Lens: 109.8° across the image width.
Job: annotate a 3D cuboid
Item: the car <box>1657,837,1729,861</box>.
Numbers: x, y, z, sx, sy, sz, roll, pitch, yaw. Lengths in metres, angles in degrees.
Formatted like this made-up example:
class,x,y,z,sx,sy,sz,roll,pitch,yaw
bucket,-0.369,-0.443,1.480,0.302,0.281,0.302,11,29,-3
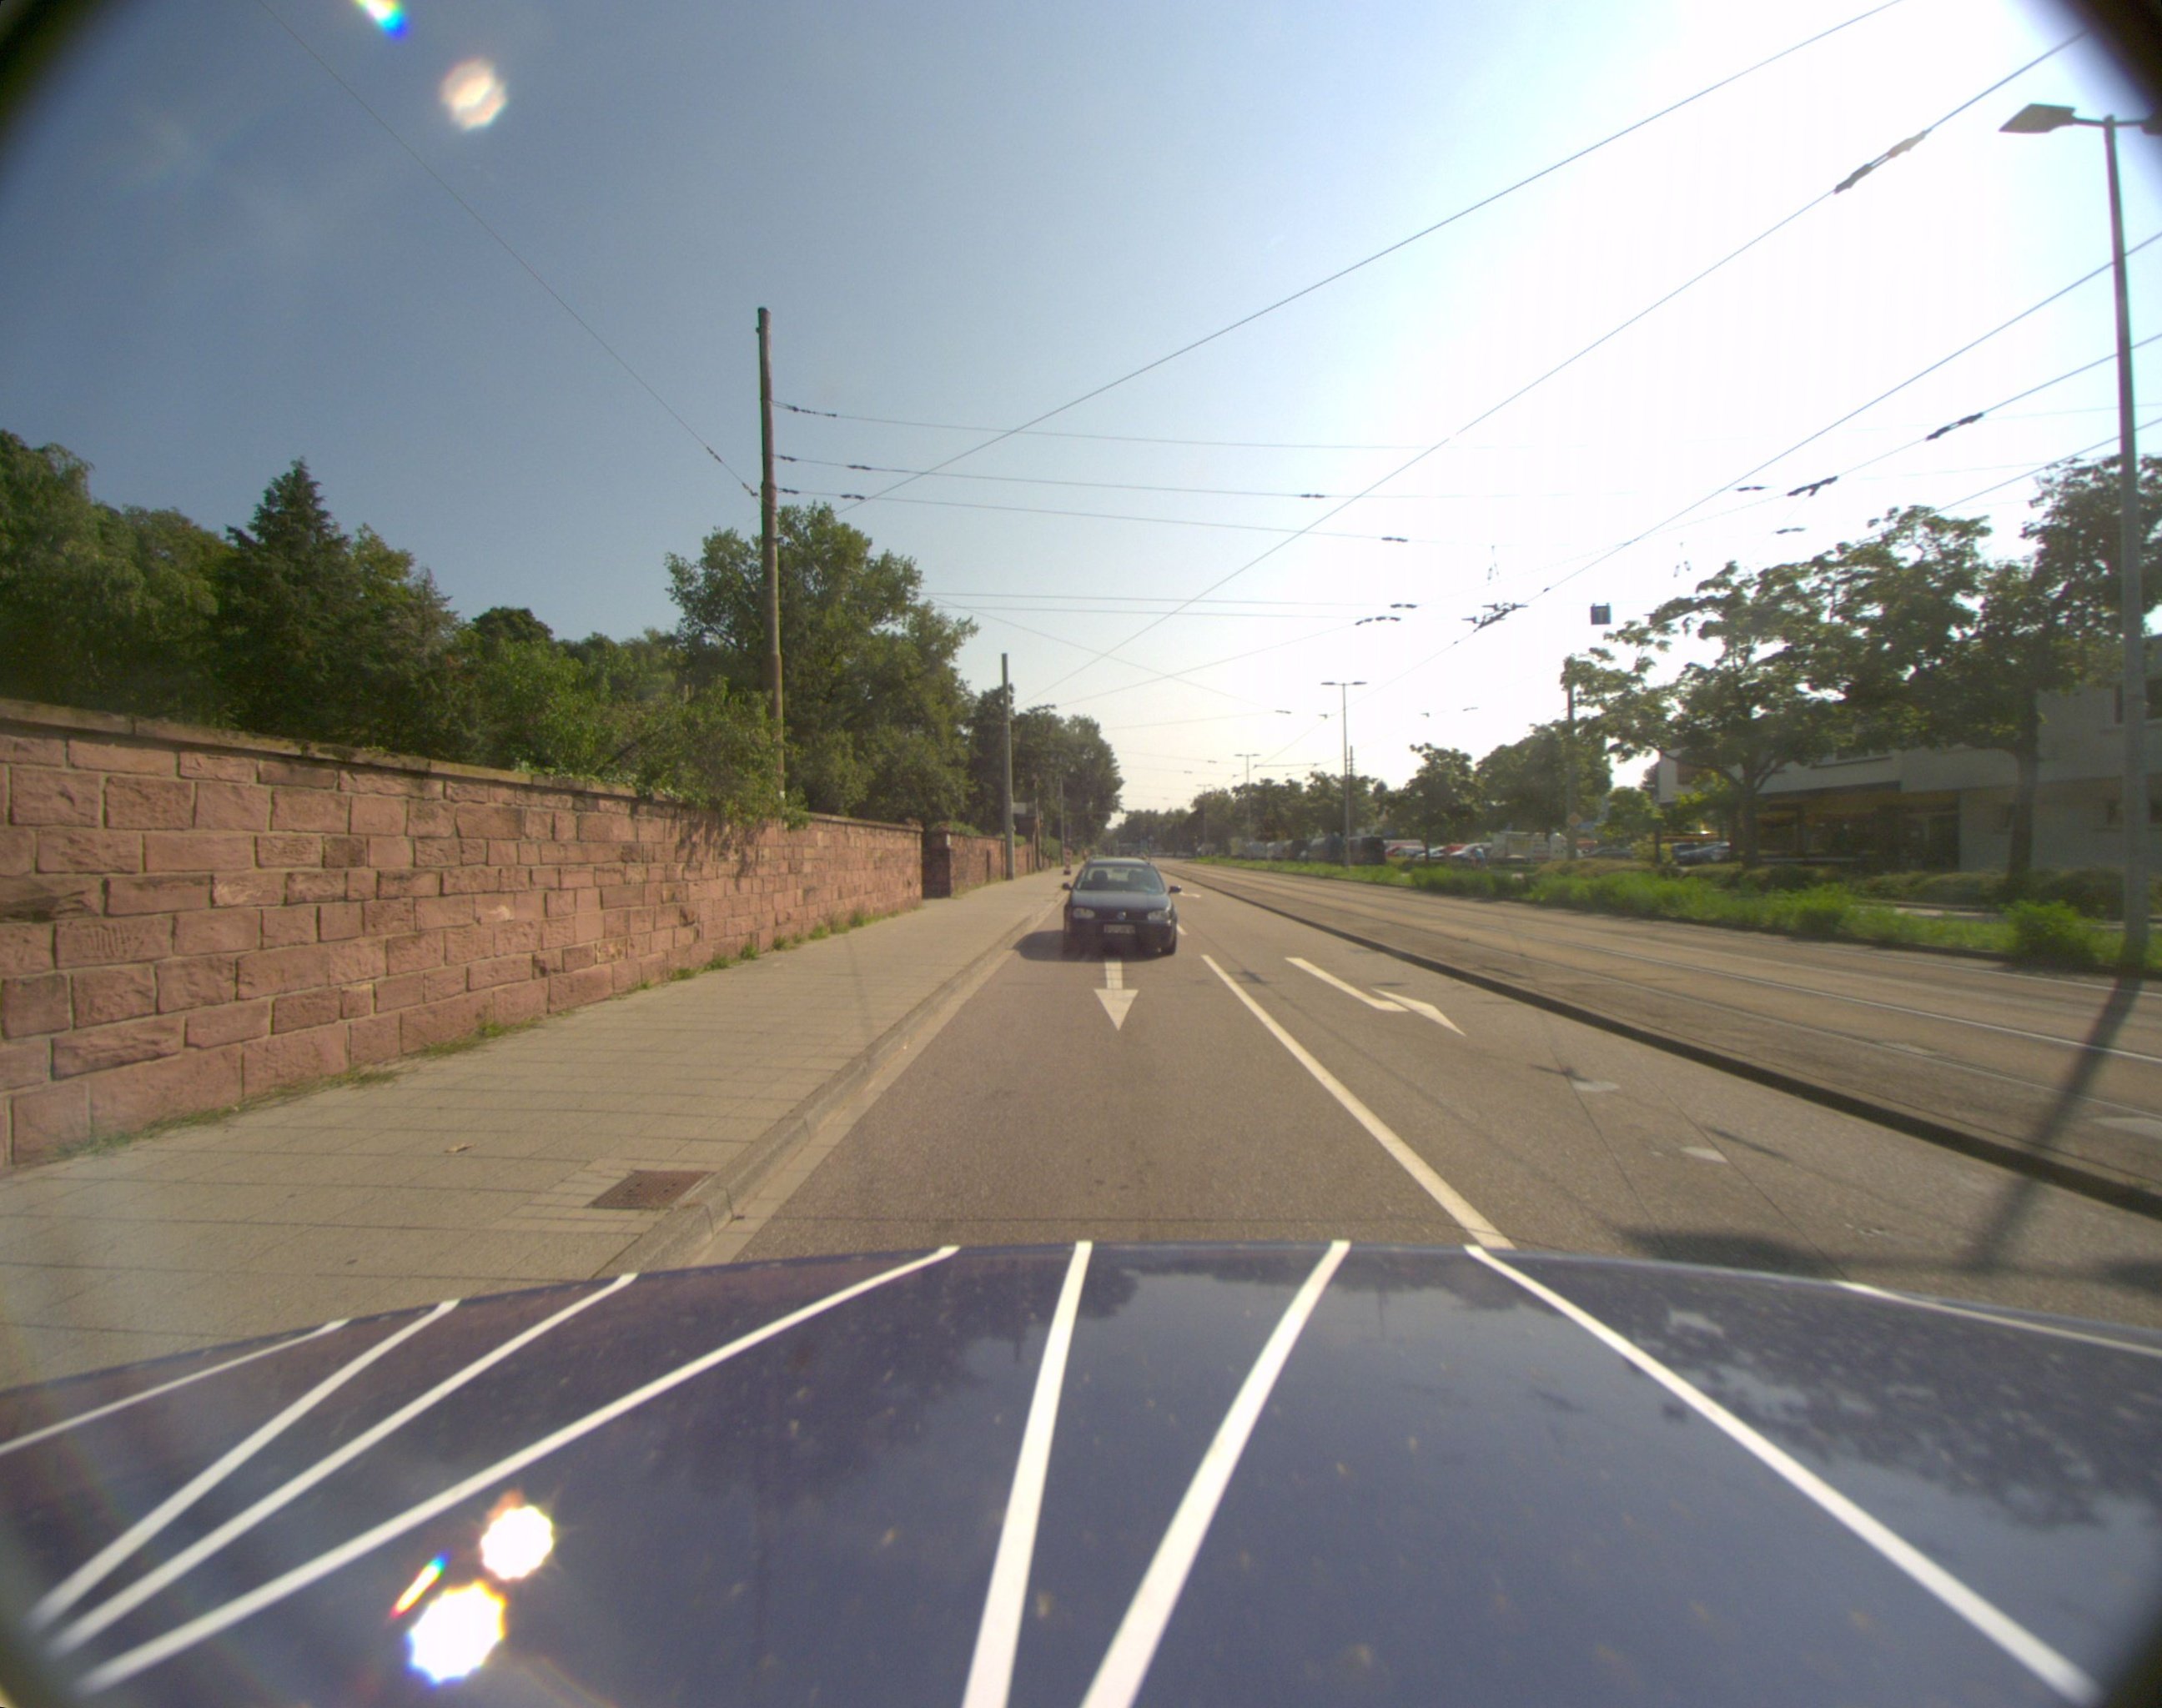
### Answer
class,x,y,z,sx,sy,sz,roll,pitch,yaw
car,45.988,-0.379,57.186,3.810,1.759,1.759,1,1,8

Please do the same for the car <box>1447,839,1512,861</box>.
class,x,y,z,sx,sy,sz,roll,pitch,yaw
car,32.770,-0.331,62.526,4.409,1.774,1.633,1,1,1

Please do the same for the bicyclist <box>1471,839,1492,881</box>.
class,x,y,z,sx,sy,sz,roll,pitch,yaw
bicyclist,19.593,0.297,37.221,0.638,2.052,0.775,1,1,8

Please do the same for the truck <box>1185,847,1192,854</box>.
class,x,y,z,sx,sy,sz,roll,pitch,yaw
truck,28.093,-0.852,198.757,1.691,1.665,3.655,1,1,3

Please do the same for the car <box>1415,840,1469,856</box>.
class,x,y,z,sx,sy,sz,roll,pitch,yaw
car,33.229,-0.566,70.019,4.165,1.455,1.625,0,1,6

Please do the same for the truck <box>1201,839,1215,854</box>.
class,x,y,z,sx,sy,sz,roll,pitch,yaw
truck,26.370,-1.575,158.245,2.278,3.104,8.789,1,1,5

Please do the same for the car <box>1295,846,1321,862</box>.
class,x,y,z,sx,sy,sz,roll,pitch,yaw
car,22.883,-0.056,76.836,1.748,1.543,3.834,-1,1,5

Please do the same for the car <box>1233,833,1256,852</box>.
class,x,y,z,sx,sy,sz,roll,pitch,yaw
car,24.684,-1.732,114.872,2.129,2.789,7.231,1,1,3

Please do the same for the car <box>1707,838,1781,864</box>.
class,x,y,z,sx,sy,sz,roll,pitch,yaw
car,45.062,-0.226,51.710,3.455,1.494,1.875,-3,3,-1

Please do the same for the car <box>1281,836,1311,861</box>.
class,x,y,z,sx,sy,sz,roll,pitch,yaw
car,23.423,-0.563,82.887,1.826,2.571,5.911,-2,0,4

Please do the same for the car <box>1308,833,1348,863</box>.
class,x,y,z,sx,sy,sz,roll,pitch,yaw
car,22.847,-0.590,70.521,1.992,2.571,6.468,-2,1,4

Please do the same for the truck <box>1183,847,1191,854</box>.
class,x,y,z,sx,sy,sz,roll,pitch,yaw
truck,28.242,-0.902,202.884,1.691,1.665,3.655,1,1,3

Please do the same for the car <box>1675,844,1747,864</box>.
class,x,y,z,sx,sy,sz,roll,pitch,yaw
car,44.630,0.004,53.894,3.712,1.335,1.492,-1,1,10

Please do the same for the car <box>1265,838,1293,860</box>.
class,x,y,z,sx,sy,sz,roll,pitch,yaw
car,23.617,-0.652,90.947,2.137,2.571,5.631,1,1,3

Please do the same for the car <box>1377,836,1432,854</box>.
class,x,y,z,sx,sy,sz,roll,pitch,yaw
car,35.642,-1.024,83.852,5.197,1.914,2.052,1,1,1

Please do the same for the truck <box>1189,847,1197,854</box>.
class,x,y,z,sx,sy,sz,roll,pitch,yaw
truck,27.746,-0.943,188.502,1.691,1.665,3.655,1,1,3

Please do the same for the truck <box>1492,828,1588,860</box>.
class,x,y,z,sx,sy,sz,roll,pitch,yaw
truck,33.011,-0.712,54.799,5.503,2.160,2.259,1,1,1

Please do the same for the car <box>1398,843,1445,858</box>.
class,x,y,z,sx,sy,sz,roll,pitch,yaw
car,33.850,-0.364,75.526,3.932,1.441,1.633,1,1,1

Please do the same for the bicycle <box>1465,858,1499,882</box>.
class,x,y,z,sx,sy,sz,roll,pitch,yaw
bicycle,19.587,0.774,37.174,0.716,1.085,2.266,1,1,7

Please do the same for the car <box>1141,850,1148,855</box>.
class,x,y,z,sx,sy,sz,roll,pitch,yaw
car,17.303,-0.298,207.624,1.726,1.317,4.000,1,1,2

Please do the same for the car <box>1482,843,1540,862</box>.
class,x,y,z,sx,sy,sz,roll,pitch,yaw
car,32.469,-0.108,57.393,3.413,1.418,1.633,1,1,1

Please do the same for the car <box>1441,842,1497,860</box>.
class,x,y,z,sx,sy,sz,roll,pitch,yaw
car,33.274,-0.283,65.275,3.932,1.510,1.633,1,1,1

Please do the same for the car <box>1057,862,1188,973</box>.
class,x,y,z,sx,sy,sz,roll,pitch,yaw
car,0.684,0.878,12.300,1.775,1.416,3.935,0,1,3

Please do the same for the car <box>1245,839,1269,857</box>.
class,x,y,z,sx,sy,sz,roll,pitch,yaw
car,24.332,-0.871,105.147,2.148,2.444,4.832,1,1,1

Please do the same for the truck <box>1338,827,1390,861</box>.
class,x,y,z,sx,sy,sz,roll,pitch,yaw
truck,22.414,-0.777,60.452,2.086,2.533,5.739,1,1,2

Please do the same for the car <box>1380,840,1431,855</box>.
class,x,y,z,sx,sy,sz,roll,pitch,yaw
car,34.440,-0.697,80.702,4.665,1.441,1.633,1,1,1
